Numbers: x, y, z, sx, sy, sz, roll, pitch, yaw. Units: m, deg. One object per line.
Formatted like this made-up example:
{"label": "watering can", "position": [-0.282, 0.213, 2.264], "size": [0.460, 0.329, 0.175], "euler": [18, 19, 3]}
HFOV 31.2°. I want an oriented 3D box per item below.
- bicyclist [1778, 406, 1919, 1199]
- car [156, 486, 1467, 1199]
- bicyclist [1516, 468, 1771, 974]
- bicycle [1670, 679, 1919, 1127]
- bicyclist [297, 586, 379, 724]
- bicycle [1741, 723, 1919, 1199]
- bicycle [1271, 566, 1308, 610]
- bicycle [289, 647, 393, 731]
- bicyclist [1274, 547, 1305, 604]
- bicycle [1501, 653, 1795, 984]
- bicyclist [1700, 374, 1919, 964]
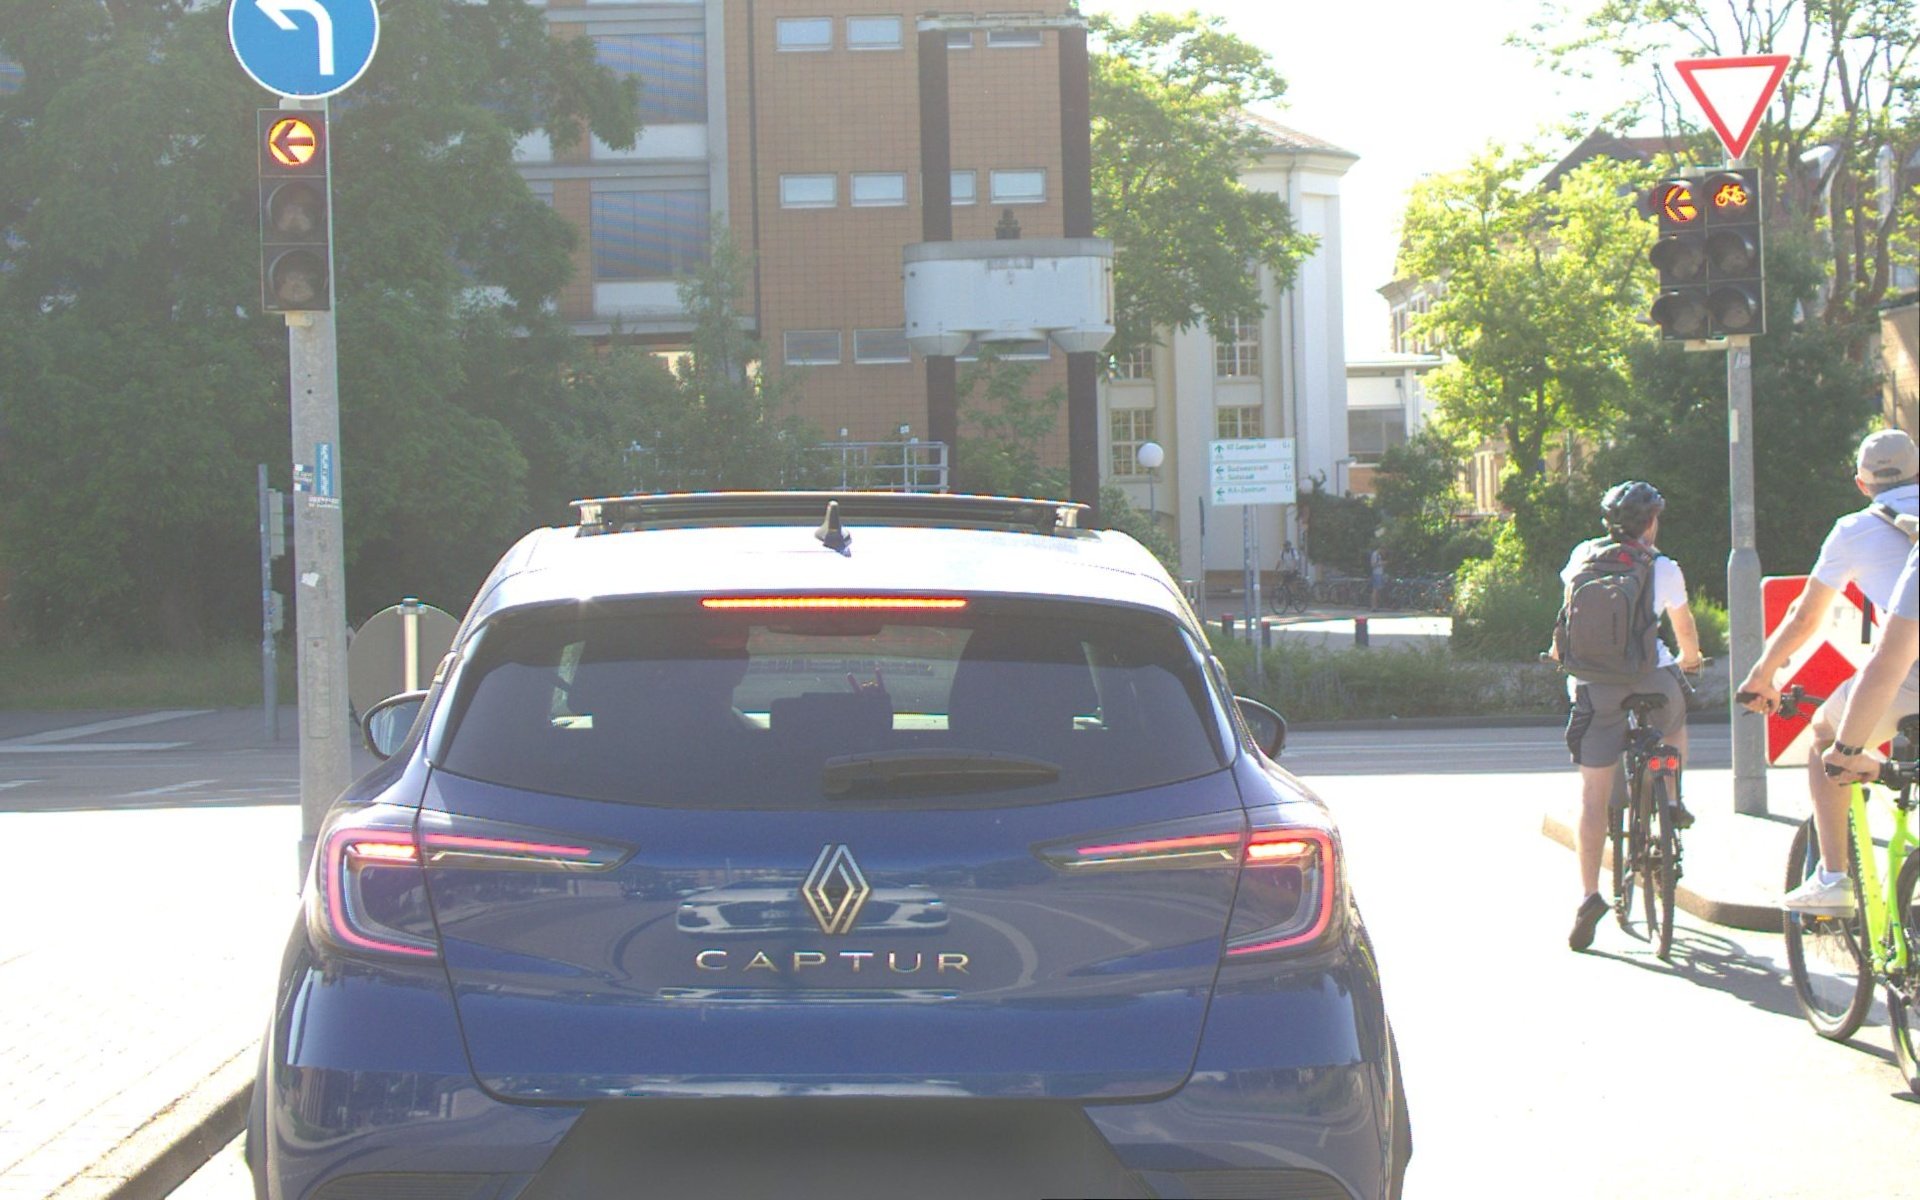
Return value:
{"label": "bicyclist", "position": [2.223, 0.503, 7.311], "size": [0.683, 1.785, 1.142], "euler": [0, 1, -1]}
{"label": "car", "position": [-0.280, 0.612, 6.656], "size": [1.788, 1.580, 3.915], "euler": [0, 1, -2]}
{"label": "bicyclist", "position": [2.501, 0.419, 12.690], "size": [0.699, 1.785, 1.142], "euler": [0, 1, -1]}
{"label": "bicycle", "position": [2.582, 0.801, 9.816], "size": [0.689, 1.085, 1.922], "euler": [0, 1, -1]}
{"label": "bicyclist", "position": [-7.915, 0.691, 43.803], "size": [0.755, 1.710, 0.998], "euler": [-1, 1, 5]}
{"label": "bicycle", "position": [2.217, 0.848, 7.239], "size": [0.689, 1.085, 1.922], "euler": [0, 1, -1]}
{"label": "bicycle", "position": [8.716, -0.319, 90.996], "size": [0.694, 1.136, 2.441], "euler": [-1, 1, -1]}
{"label": "bicycle", "position": [-7.896, 1.122, 43.914], "size": [0.755, 0.981, 2.093], "euler": [-1, 1, 5]}
{"label": "bicyclist", "position": [8.712, -0.653, 90.808], "size": [0.694, 1.476, 0.717], "euler": [-1, 1, -2]}
{"label": "bicycle", "position": [2.520, 0.767, 12.807], "size": [0.689, 1.085, 1.922], "euler": [0, 1, -1]}
{"label": "bicyclist", "position": [2.583, 0.179, 9.829], "size": [0.678, 1.589, 1.142], "euler": [0, 1, -1]}
